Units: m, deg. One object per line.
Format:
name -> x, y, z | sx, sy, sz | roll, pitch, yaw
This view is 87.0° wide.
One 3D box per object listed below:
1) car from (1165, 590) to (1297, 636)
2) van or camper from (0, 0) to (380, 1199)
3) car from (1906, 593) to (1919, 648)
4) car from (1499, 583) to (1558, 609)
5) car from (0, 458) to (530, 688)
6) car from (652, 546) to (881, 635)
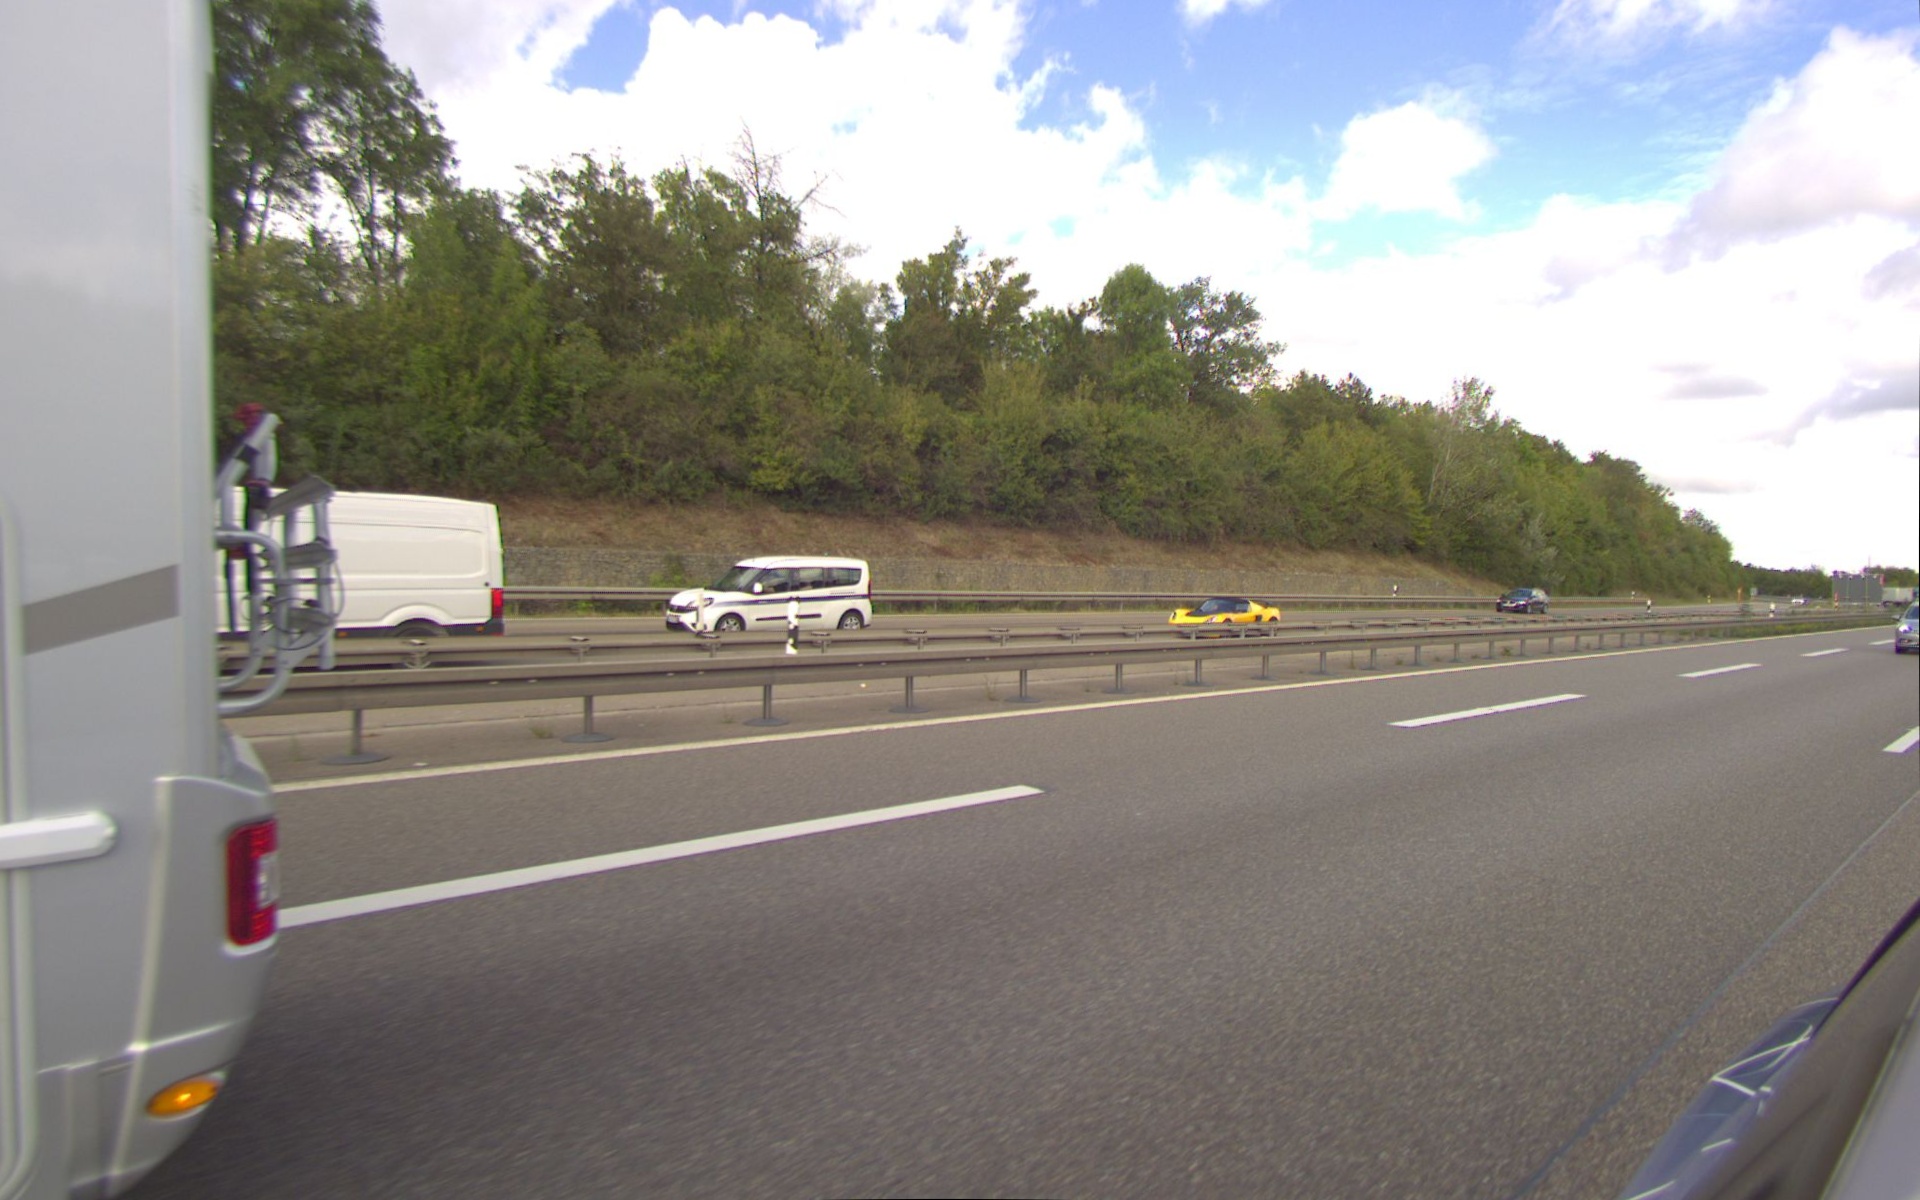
car -> 7.839, 0.351, 29.095 | 4.096, 1.196, 1.715 | 0, 1, -41
van or camper -> -4.671, 0.024, 0.260 | 7.528, 2.756, 2.473 | 0, 0, -41
car -> 28.250, 0.579, 28.682 | 4.536, 1.503, 1.686 | 0, 1, -42
car -> 33.617, -0.226, 59.781 | 4.095, 1.433, 1.715 | 0, 2, -41
car -> -9.654, -0.337, 13.836 | 6.627, 2.586, 2.073 | 0, 2, -42
car -> -4.169, -0.200, 22.300 | 4.680, 1.774, 1.847 | 0, 1, -41
